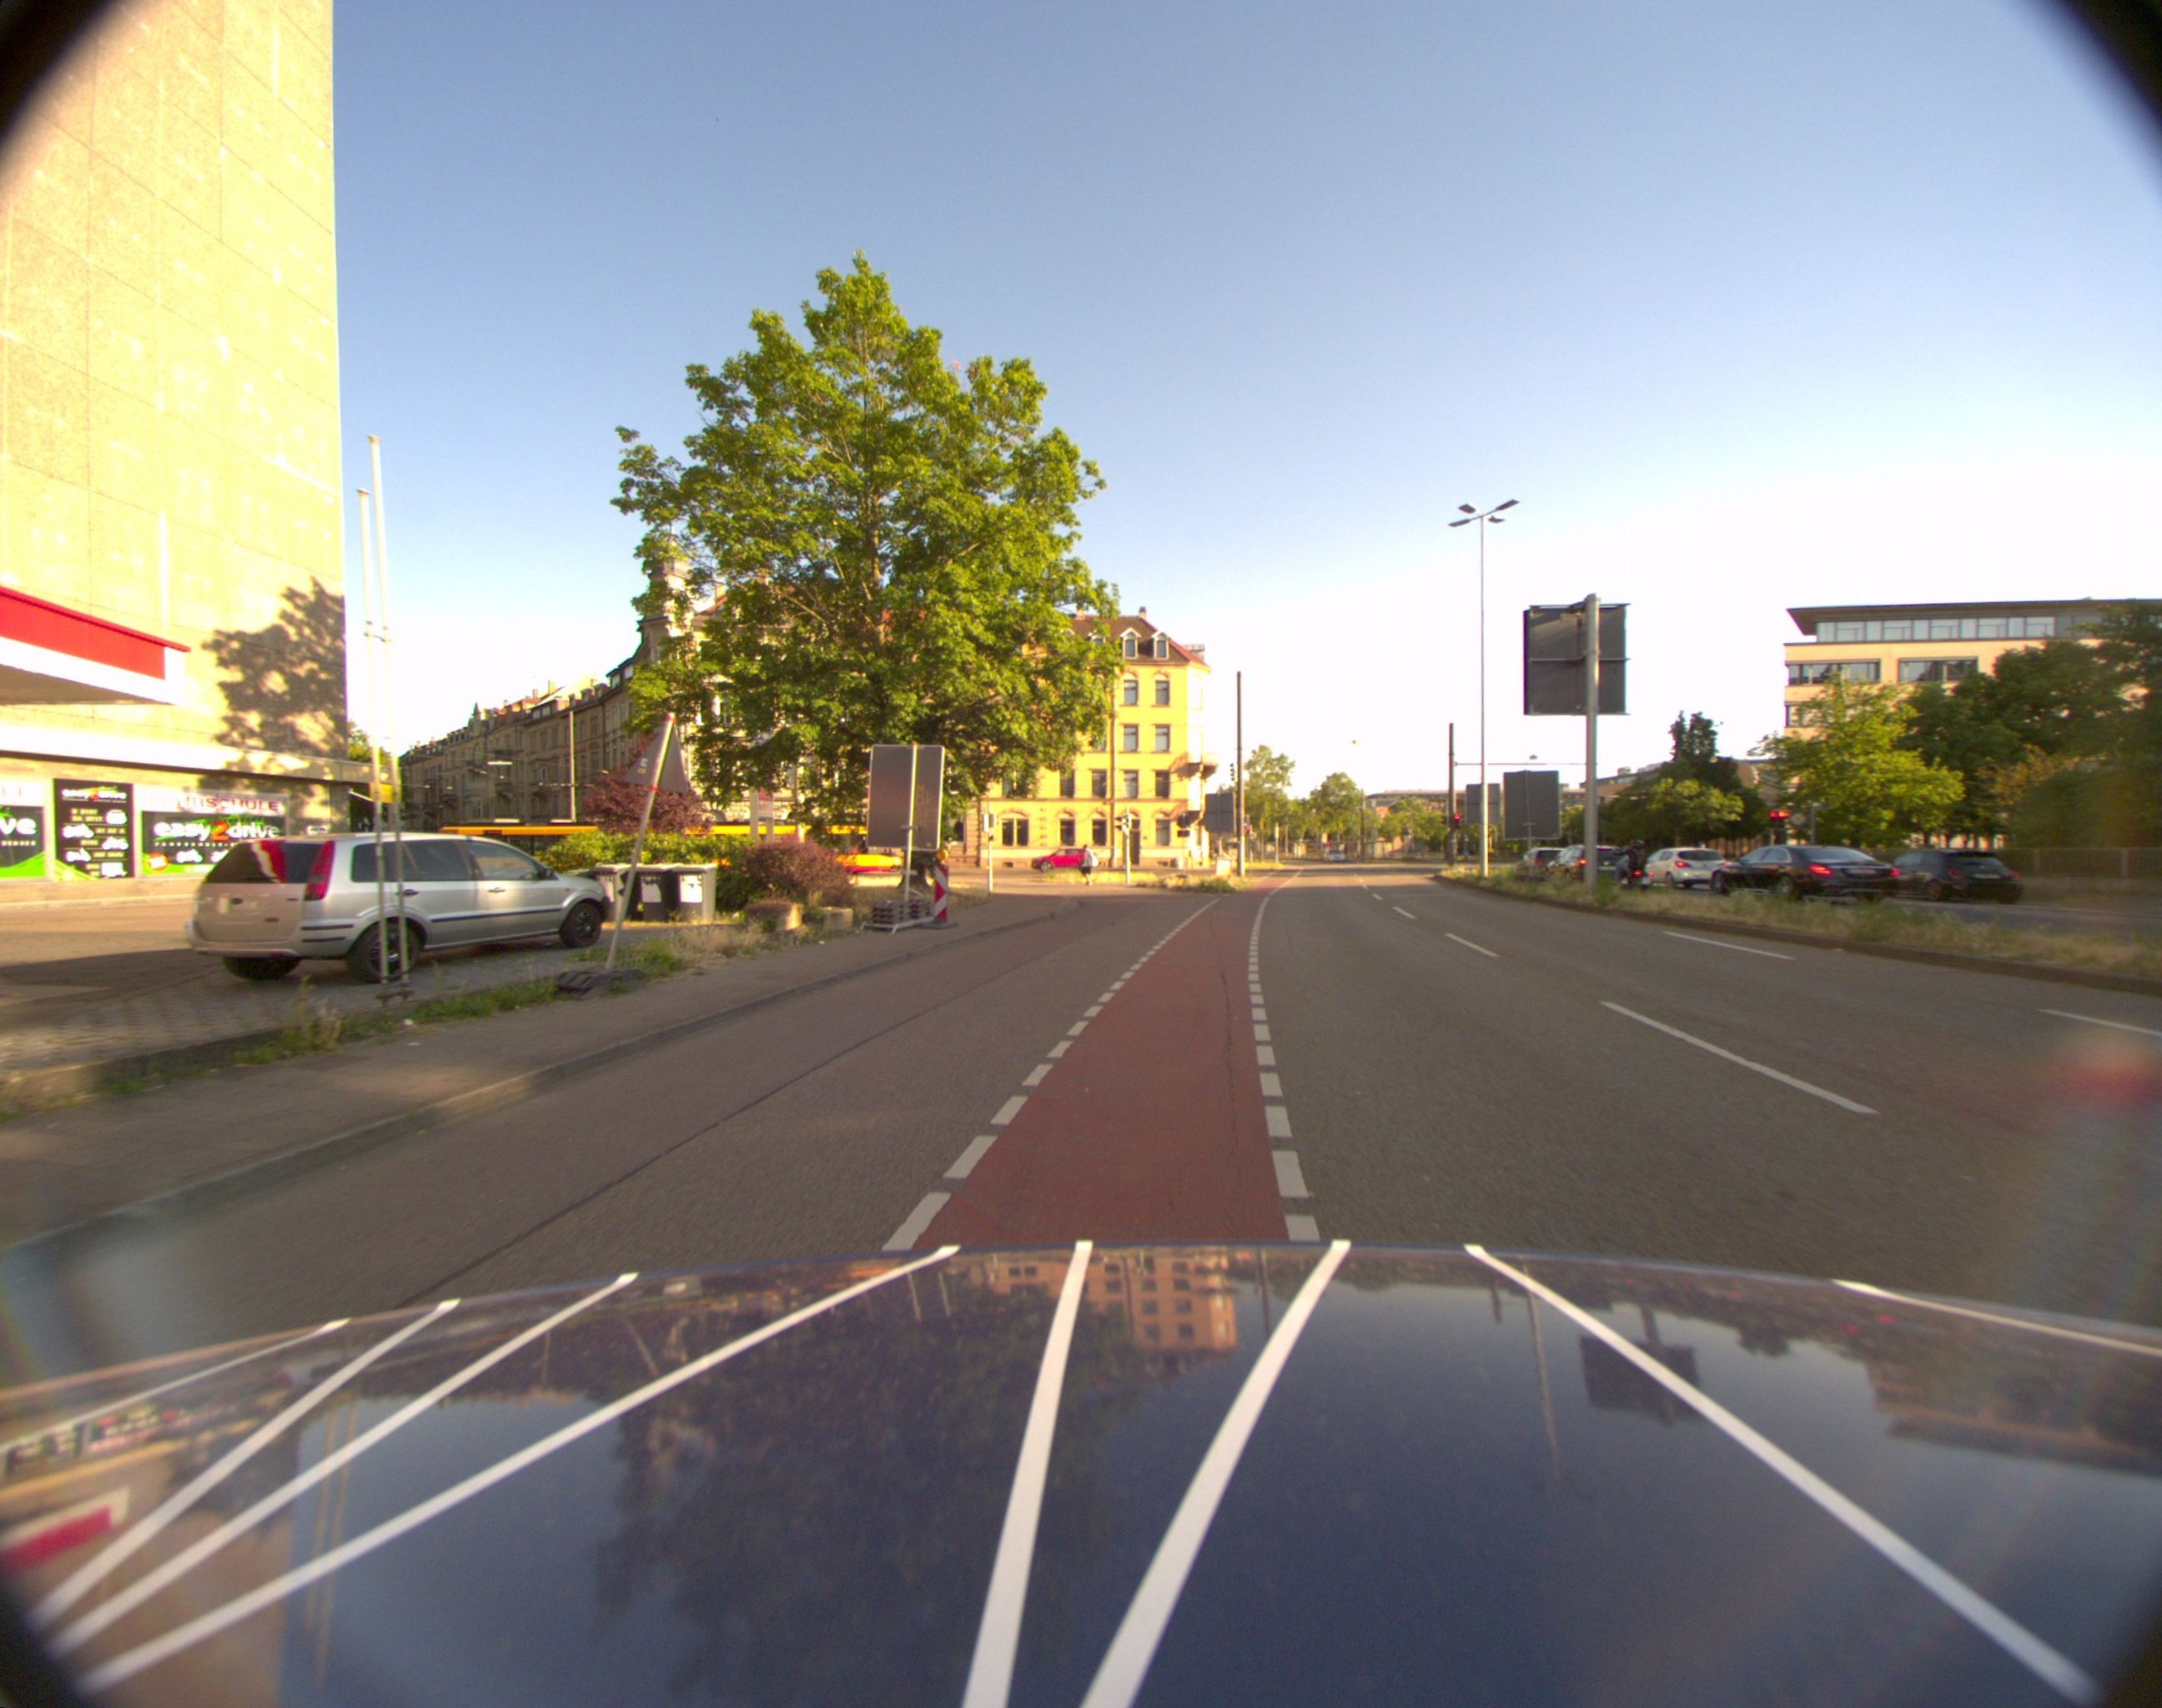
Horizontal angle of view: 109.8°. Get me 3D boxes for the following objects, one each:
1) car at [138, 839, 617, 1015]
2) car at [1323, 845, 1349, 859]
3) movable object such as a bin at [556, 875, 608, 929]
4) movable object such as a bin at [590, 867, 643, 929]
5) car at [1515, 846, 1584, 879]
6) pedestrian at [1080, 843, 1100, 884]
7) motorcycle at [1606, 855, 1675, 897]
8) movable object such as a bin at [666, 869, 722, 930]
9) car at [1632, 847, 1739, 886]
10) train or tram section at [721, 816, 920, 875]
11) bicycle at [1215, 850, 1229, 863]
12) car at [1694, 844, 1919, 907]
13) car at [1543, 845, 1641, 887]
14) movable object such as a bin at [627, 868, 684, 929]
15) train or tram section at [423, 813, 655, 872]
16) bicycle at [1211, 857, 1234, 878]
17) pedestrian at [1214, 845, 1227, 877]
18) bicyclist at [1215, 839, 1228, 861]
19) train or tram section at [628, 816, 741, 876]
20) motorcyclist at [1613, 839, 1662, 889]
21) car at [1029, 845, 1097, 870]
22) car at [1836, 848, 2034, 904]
[{"bbox_3d":[-7.634,0.627,8.867,1.622,1.585,3.896,0,1,9],"label":"car"},{"bbox_3d":[29.464,-0.290,88.051,1.998,1.565,4.001,0,1,5],"label":"car"},{"bbox_3d":[-8.822,0.836,13.435,0.486,0.903,0.586,0,1,20],"label":"movable object such as a bin"},{"bbox_3d":[-8.162,0.759,13.355,0.521,1.023,0.586,0,1,27],"label":"movable object such as a bin"},{"bbox_3d":[19.923,0.318,32.480,1.720,1.289,4.255,0,1,20],"label":"car"},{"bbox_3d":[0.401,0.411,33.855,0.826,1.778,0.912,0,1,4],"label":"pedestrian"},{"bbox_3d":[15.917,0.590,21.684,0.859,1.101,2.473,0,1,19],"label":"motorcycle"},{"bbox_3d":[-6.706,0.778,13.195,0.573,1.023,0.674,0,1,6],"label":"movable object such as a bin"},{"bbox_3d":[22.001,0.404,27.842,1.721,1.311,3.899,0,1,17],"label":"car"},{"bbox_3d":[-15.855,-0.523,47.101,11.295,3.488,2.868,0,1,-7],"label":"train or tram section"},{"bbox_3d":[11.940,0.208,64.491,1.070,1.018,2.977,0,1,8],"label":"bicycle"},{"bbox_3d":[19.364,0.484,20.715,1.996,1.487,5.297,0,1,13],"label":"car"},{"bbox_3d":[17.462,0.351,26.173,1.720,1.289,4.382,0,1,19],"label":"car"},{"bbox_3d":[-7.452,0.771,13.330,0.573,1.023,0.674,0,1,6],"label":"movable object such as a bin"},{"bbox_3d":[-33.309,-0.671,46.881,12.998,3.488,2.871,0,1,6],"label":"train or tram section"},{"bbox_3d":[7.245,0.680,38.843,0.398,1.023,1.675,1,1,38],"label":"bicycle"},{"bbox_3d":[7.154,0.364,38.914,0.488,1.622,0.526,1,1,38],"label":"pedestrian"},{"bbox_3d":[11.921,-0.360,64.438,1.070,1.831,1.304,0,1,8],"label":"bicyclist"},{"bbox_3d":[-24.017,-0.488,46.272,5.300,3.488,2.869,0,1,-2],"label":"train or tram section"},{"bbox_3d":[15.949,0.281,21.815,0.852,1.390,1.063,0,1,19],"label":"motorcyclist"},{"bbox_3d":[-1.218,0.204,50.946,4.463,1.605,1.820,0,1,-4],"label":"car"},{"bbox_3d":[24.359,0.564,21.915,1.856,1.455,4.004,-1,1,14],"label":"car"}]
